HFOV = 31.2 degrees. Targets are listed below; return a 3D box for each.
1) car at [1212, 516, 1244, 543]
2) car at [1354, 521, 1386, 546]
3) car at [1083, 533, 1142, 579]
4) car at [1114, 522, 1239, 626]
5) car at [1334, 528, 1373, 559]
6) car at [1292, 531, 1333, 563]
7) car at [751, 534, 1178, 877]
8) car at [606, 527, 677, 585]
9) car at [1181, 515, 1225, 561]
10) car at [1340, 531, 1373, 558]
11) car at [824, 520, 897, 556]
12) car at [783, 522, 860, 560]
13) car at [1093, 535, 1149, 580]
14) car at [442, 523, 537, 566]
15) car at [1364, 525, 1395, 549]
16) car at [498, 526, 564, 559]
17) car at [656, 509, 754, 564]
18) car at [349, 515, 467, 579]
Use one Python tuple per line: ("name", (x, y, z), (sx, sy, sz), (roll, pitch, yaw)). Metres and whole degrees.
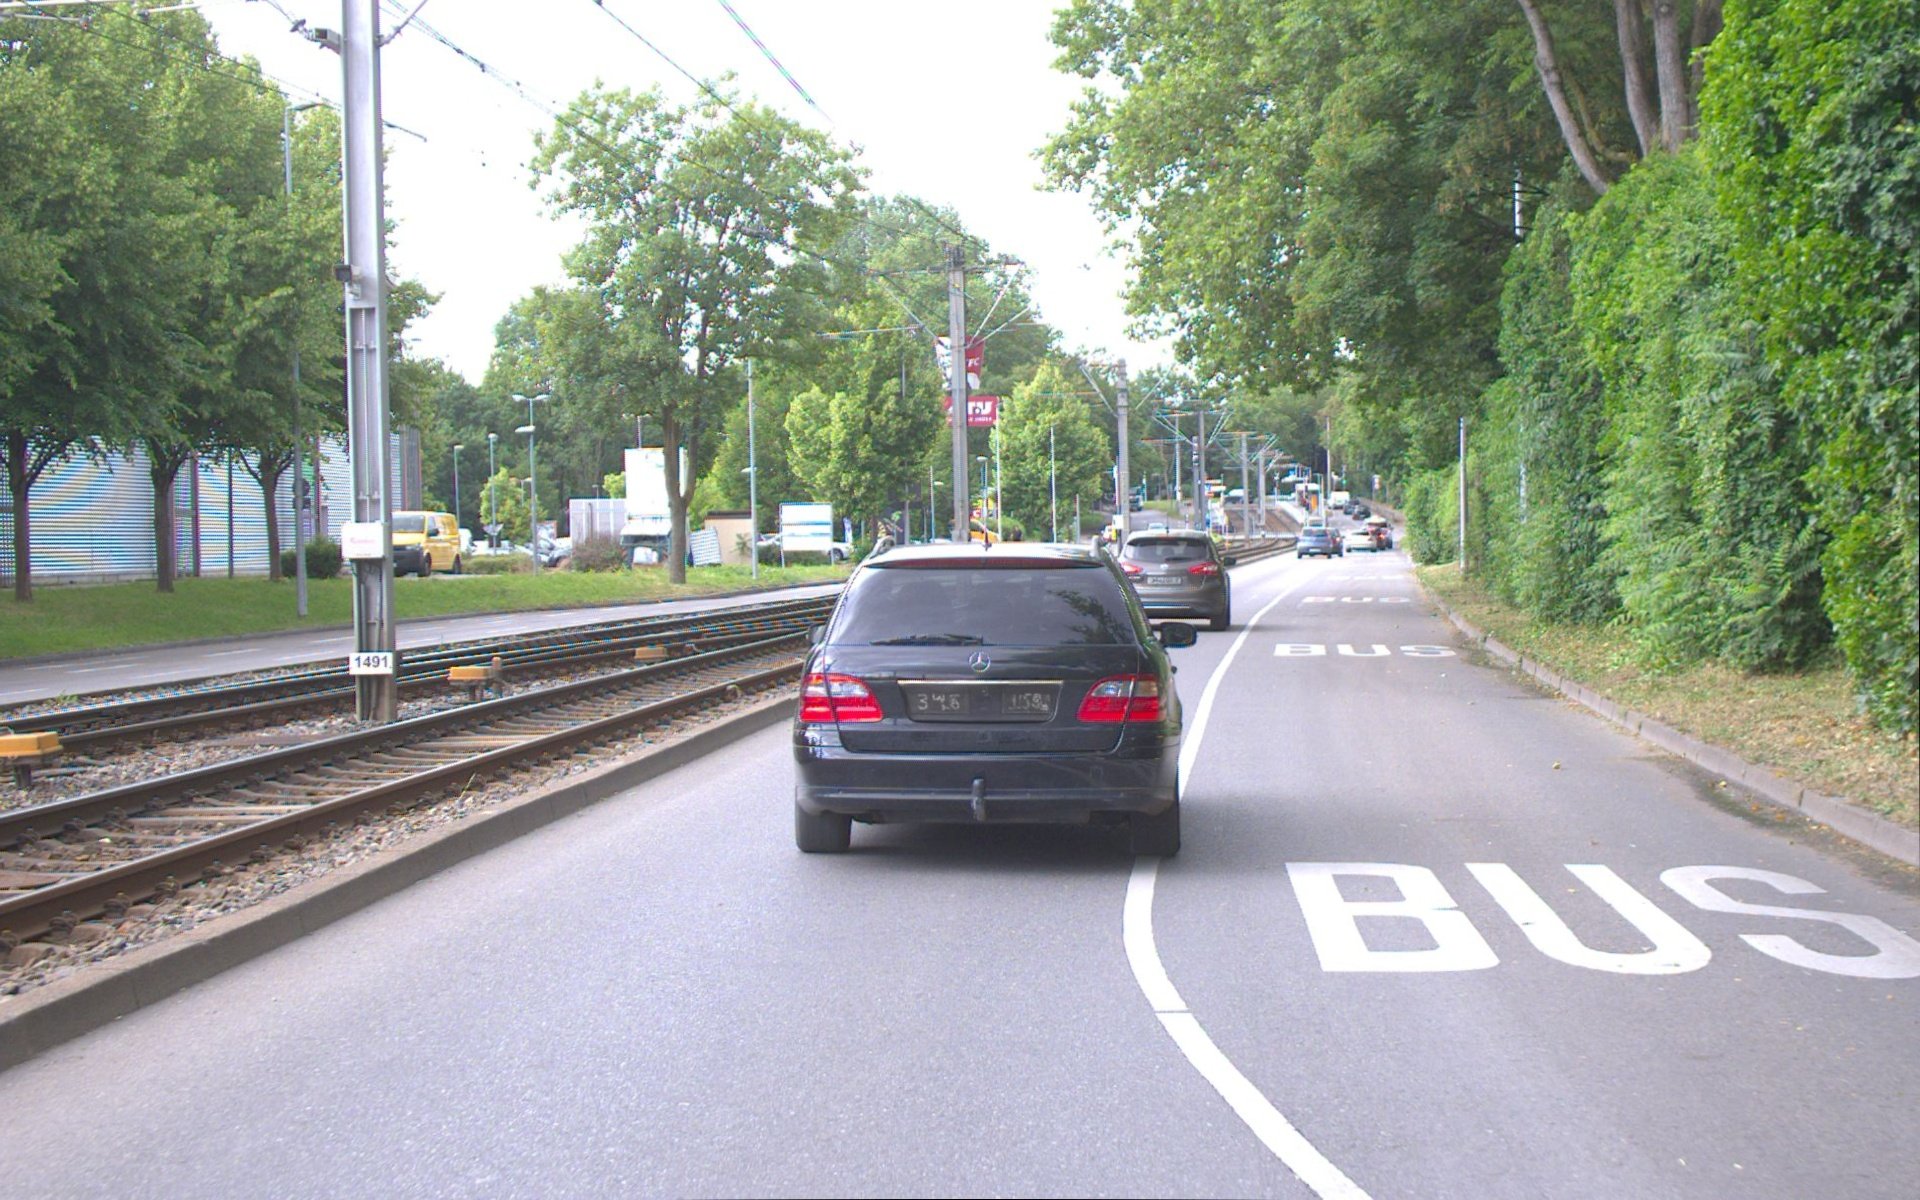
("car", (15.425, -4.064, 197.689), (1.825, 1.524, 4.178), (0, 1, 5))
("car", (25.388, -4.148, 213.008), (1.825, 1.524, 4.178), (0, 1, 5))
("car", (5.141, -1.494, 115.701), (1.825, 1.524, 3.985), (0, 1, 5))
("car", (3.287, -0.424, 52.919), (1.825, 1.524, 4.415), (0, 1, 3))
("car", (19.727, -2.854, 172.554), (1.825, 1.524, 4.178), (0, 1, 5))
("car", (16.681, -2.520, 162.801), (1.825, 1.524, 4.415), (0, 1, 5))
("car", (0.154, 0.426, 17.056), (1.833, 1.473, 4.415), (0, 1, 4))
("car", (-11.738, -1.611, 126.986), (1.994, 2.007, 4.000), (-3, 1, 3))
("car", (11.302, -2.884, 160.221), (1.892, 2.007, 3.897), (-3, 1, 3))
("car", (23.442, -3.286, 203.248), (1.825, 1.524, 4.178), (0, 1, 5))
("car", (-5.204, -3.229, 179.458), (3.692, 1.809, 1.795), (-1, 1, -4))
("car", (-6.772, -2.883, 168.226), (3.692, 1.809, 1.795), (-1, 1, -4))
("car", (5.658, -1.504, 120.626), (1.825, 1.524, 3.985), (0, 1, 5))
("car", (-20.887, -2.456, 152.691), (3.986, 1.674, 2.000), (-3, 0, -11))
("car", (27.517, -4.142, 225.651), (1.825, 1.524, 4.178), (0, 1, 5))
("car", (-29.074, -3.876, 232.846), (3.988, 2.007, 1.999), (-3, 0, 7))
("car", (-10.925, -2.713, 147.527), (3.987, 2.116, 2.000), (-3, 0, -1))
("car", (-15.703, -1.521, 98.102), (1.994, 1.737, 4.986), (0, 1, 7))
